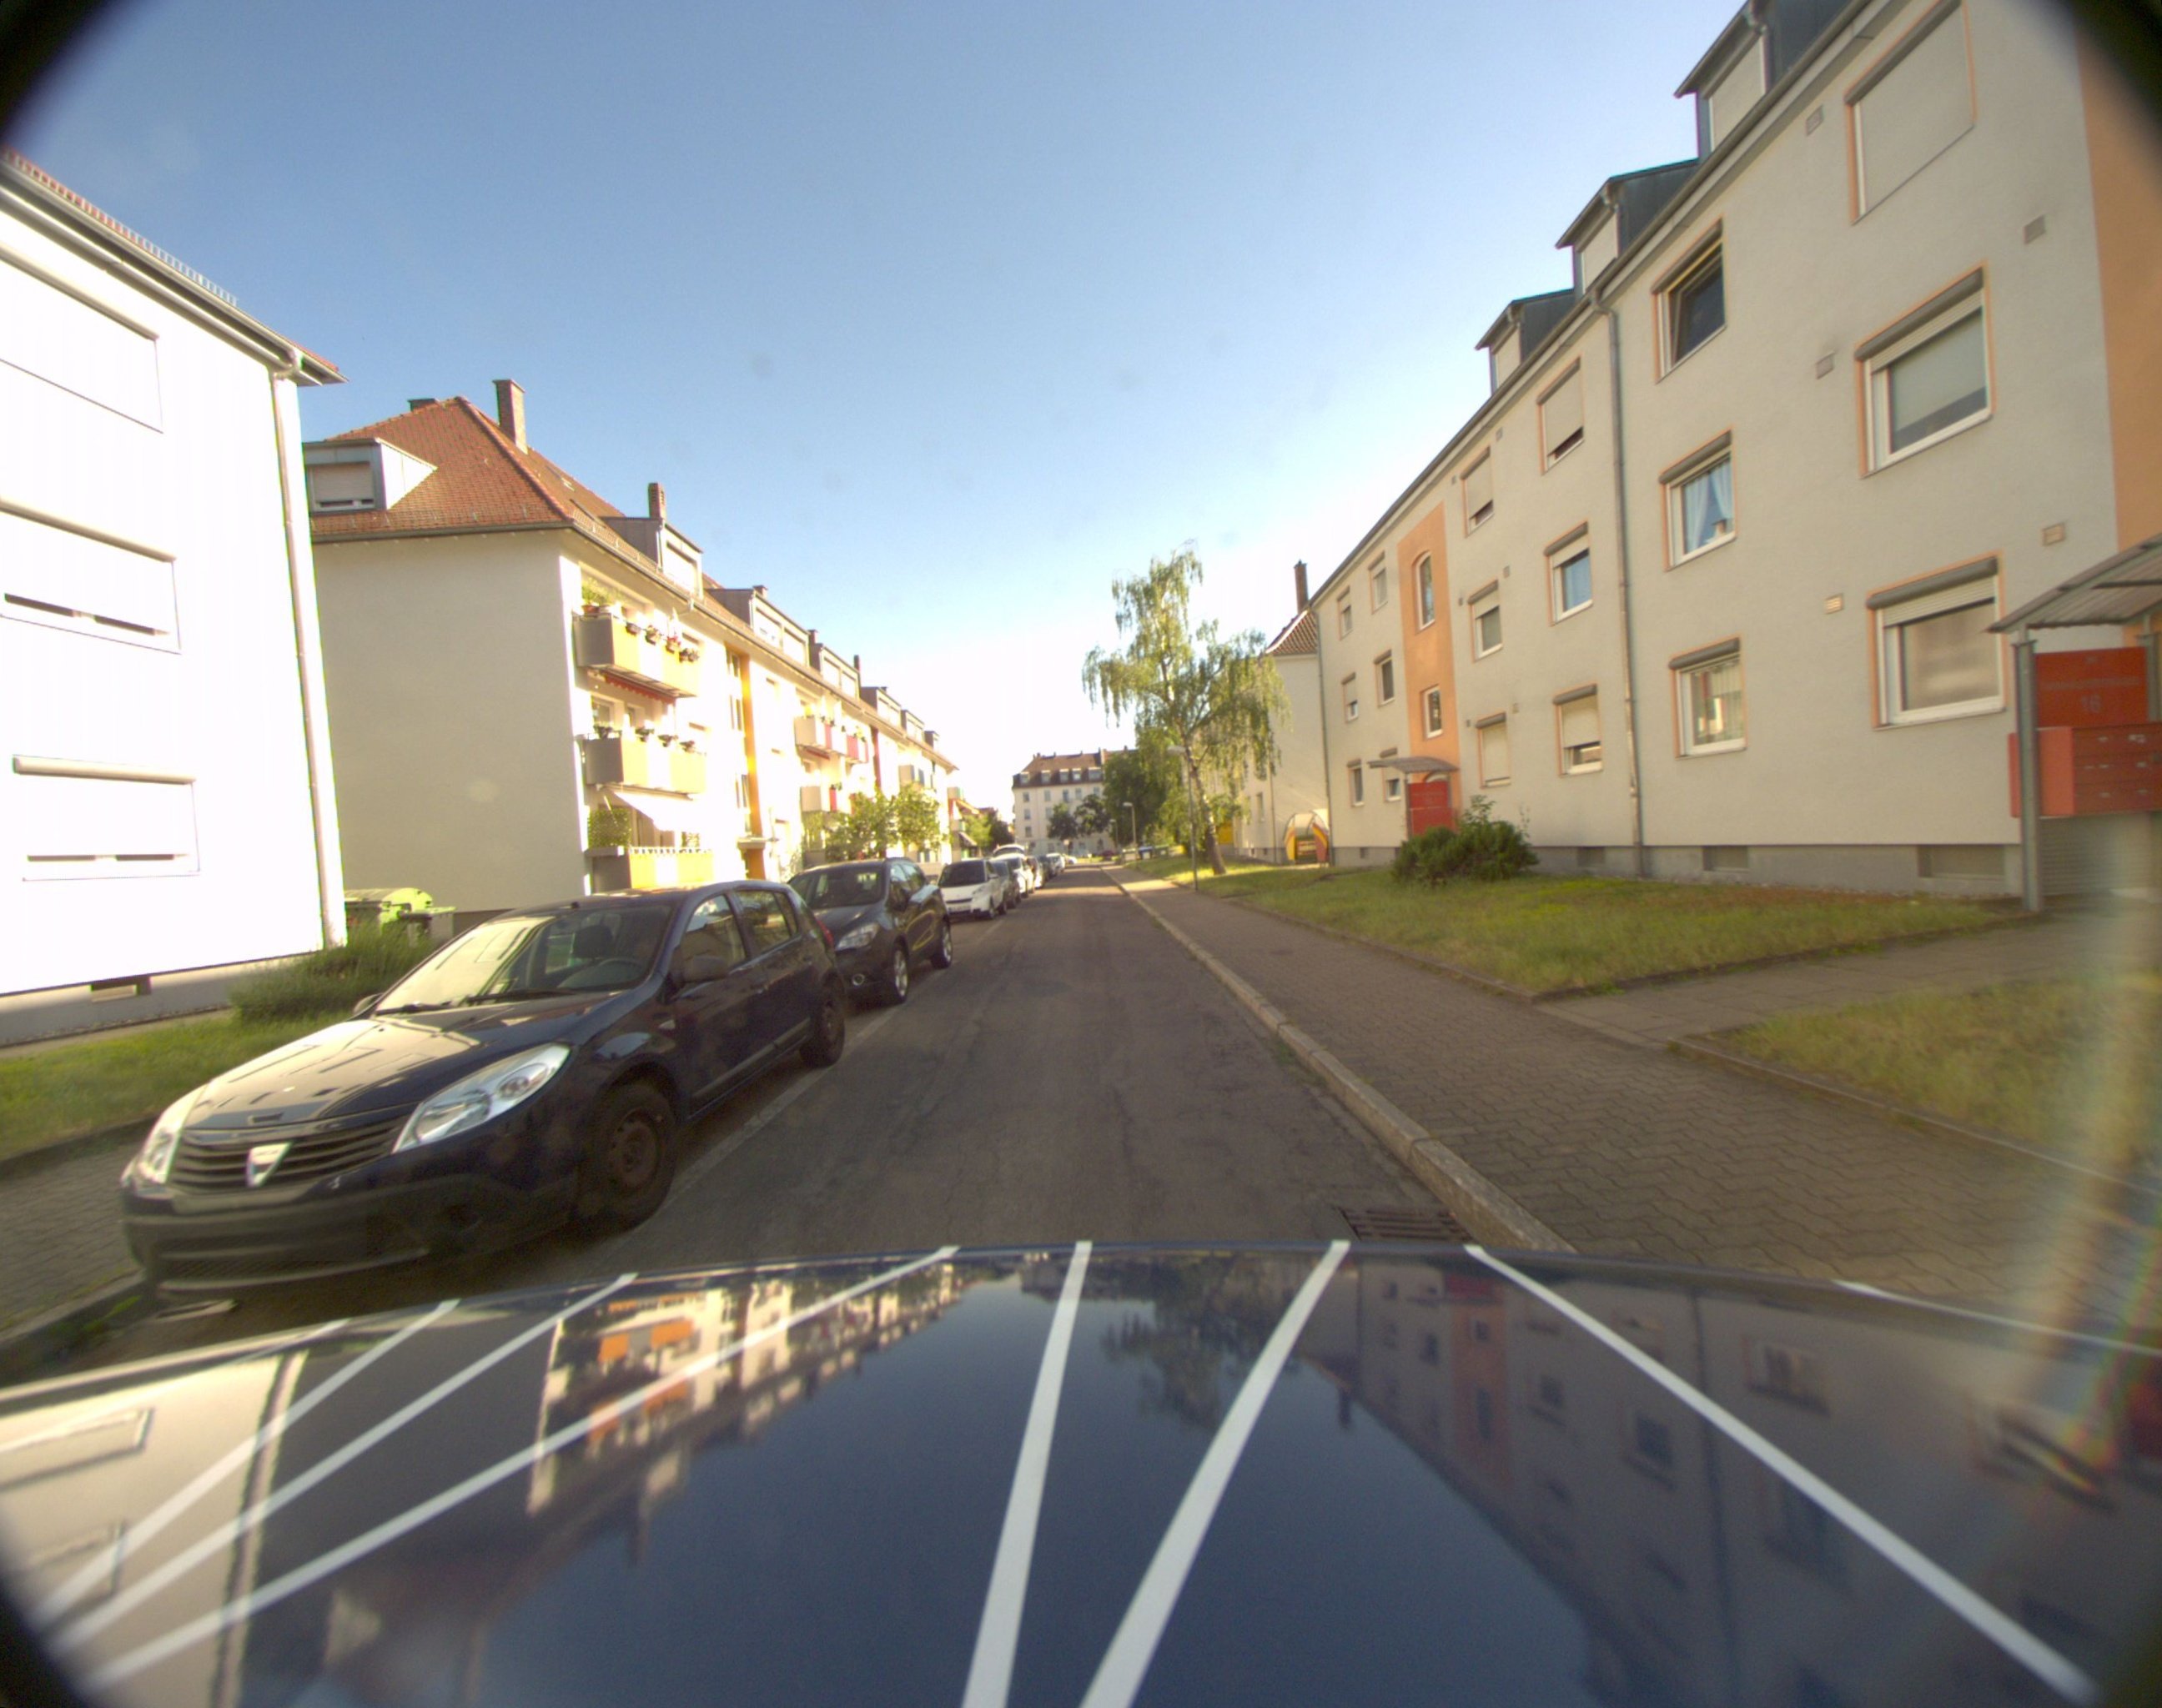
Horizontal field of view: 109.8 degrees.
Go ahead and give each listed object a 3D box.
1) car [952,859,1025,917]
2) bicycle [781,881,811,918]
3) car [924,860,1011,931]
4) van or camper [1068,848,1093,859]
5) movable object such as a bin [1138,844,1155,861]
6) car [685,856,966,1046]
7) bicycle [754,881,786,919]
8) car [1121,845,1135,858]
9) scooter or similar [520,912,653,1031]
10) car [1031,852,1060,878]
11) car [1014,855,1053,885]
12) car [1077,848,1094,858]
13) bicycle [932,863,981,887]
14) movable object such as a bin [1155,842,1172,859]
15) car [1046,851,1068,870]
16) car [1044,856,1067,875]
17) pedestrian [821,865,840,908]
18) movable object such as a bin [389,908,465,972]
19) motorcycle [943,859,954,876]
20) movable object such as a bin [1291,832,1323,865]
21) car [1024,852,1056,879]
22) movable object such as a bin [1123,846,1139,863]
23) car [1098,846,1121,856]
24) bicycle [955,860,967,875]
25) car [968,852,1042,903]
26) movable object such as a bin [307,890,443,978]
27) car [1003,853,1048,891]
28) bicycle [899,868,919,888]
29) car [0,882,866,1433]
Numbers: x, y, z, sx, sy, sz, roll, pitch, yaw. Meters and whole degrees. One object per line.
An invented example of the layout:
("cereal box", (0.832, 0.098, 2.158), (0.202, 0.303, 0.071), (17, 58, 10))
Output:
("car", (-2.826, 1.009, 24.035), (1.698, 1.482, 3.983), (-6, 0, 0))
("bicycle", (-9.035, 1.422, 24.106), (0.404, 1.080, 1.299), (-2, 1, 1))
("car", (-2.872, 1.008, 19.764), (1.483, 1.520, 2.941), (-6, 0, 5))
("van or camper", (-0.047, -0.094, 137.890), (4.355, 1.852, 1.999), (-3, 1, -2))
("movable object such as a bin", (6.234, -0.130, 72.285), (1.358, 1.451, 1.082), (-8, 1, 0))
("car", (-2.812, 0.953, 9.585), (1.787, 1.638, 4.468), (-5, 0, 2))
("bicycle", (-9.935, 1.460, 24.332), (0.404, 1.126, 1.273), (-4, 1, 1))
("car", (6.521, -0.394, 105.260), (1.678, 1.645, 3.305), (-3, 1, 4))
("scooter or similar", (-5.746, 1.324, 8.933), (0.485, 1.142, 1.589), (-1, 1, 1))
("car", (-2.443, 0.736, 53.529), (1.717, 1.501, 3.853), (-7, 1, 0))
("car", (-2.668, 0.878, 43.580), (1.650, 1.441, 4.061), (-6, 1, 3))
("car", (0.857, -0.150, 142.900), (3.192, 1.499, 1.545), (-5, 1, 0))
("bicycle", (-6.752, 1.136, 41.196), (2.429, 1.123, 0.879), (-3, 1, 6))
("movable object such as a bin", (7.815, -0.333, 72.299), (1.363, 1.445, 1.072), (-8, 1, 0))
("car", (-2.233, 0.579, 70.908), (1.805, 1.583, 4.581), (-5, 1, 0))
("car", (-2.172, 0.943, 65.602), (1.695, 1.410, 4.097), (-6, 1, 0))
("pedestrian", (-9.031, 1.173, 27.361), (0.451, 1.487, 0.360), (-3, 3, 1))
("movable object such as a bin", (-11.870, 1.553, 13.819), (0.644, 1.029, 0.757), (-2, 3, 1))
("motorcycle", (-10.302, 1.037, 59.313), (0.442, 1.231, 1.976), (-3, 1, 0))
("movable object such as a bin", (10.206, -0.256, 34.325), (1.087, 1.398, 0.812), (-4, 1, 1))
("car", (-2.556, 0.682, 48.225), (1.728, 1.569, 4.352), (-3, 1, 0))
("movable object such as a bin", (4.754, 0.077, 72.228), (1.318, 1.451, 1.198), (-7, 1, 0))
("car", (5.109, -0.560, 137.525), (3.996, 1.477, 1.722), (-3, 1, 2))
("bicycle", (-9.302, 1.044, 59.129), (0.598, 1.109, 1.872), (-3, 1, 0))
("car", (-2.812, 0.827, 29.357), (1.998, 1.603, 4.995), (-5, 0, 3))
("movable object such as a bin", (-12.875, 1.431, 13.905), (1.331, 1.399, 1.106), (-2, 3, 1))
("car", (-2.519, 0.790, 35.357), (1.777, 1.496, 4.479), (-5, 1, -1))
("bicycle", (-9.410, 1.300, 41.654), (0.521, 1.043, 2.288), (-1, 1, 1))
("car", (-2.775, 1.056, 4.489), (1.645, 1.490, 4.156), (-4, 0, 2))
